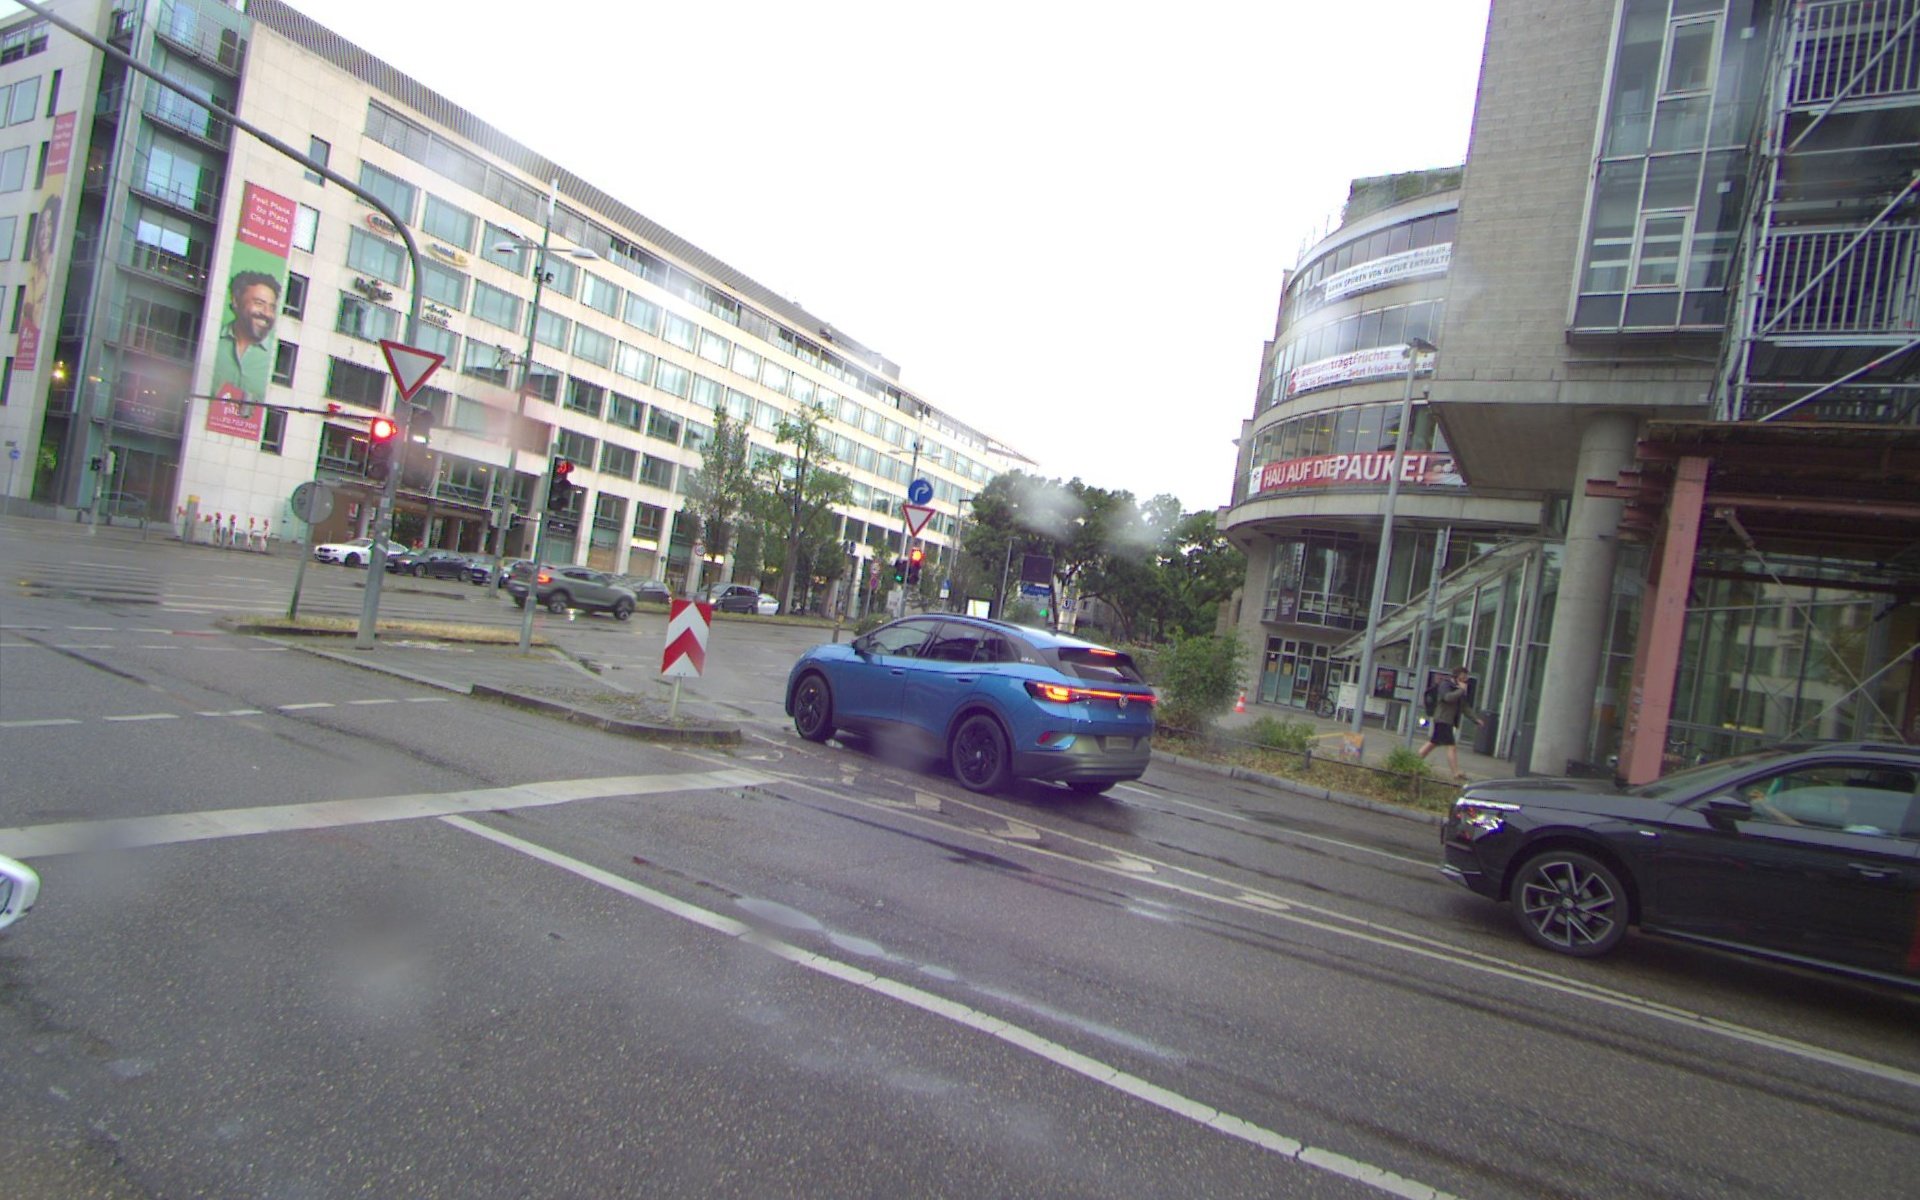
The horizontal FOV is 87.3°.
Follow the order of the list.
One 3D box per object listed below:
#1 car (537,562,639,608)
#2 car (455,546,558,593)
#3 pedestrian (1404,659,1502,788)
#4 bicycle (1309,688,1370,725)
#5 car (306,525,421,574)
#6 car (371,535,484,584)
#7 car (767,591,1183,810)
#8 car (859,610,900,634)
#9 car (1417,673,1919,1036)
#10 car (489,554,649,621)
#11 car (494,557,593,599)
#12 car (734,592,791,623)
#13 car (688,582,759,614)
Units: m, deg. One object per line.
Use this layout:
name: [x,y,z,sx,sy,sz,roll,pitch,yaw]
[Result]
car: [-16.551,-0.621,45.033,1.690,1.481,4.468,7,-1,19]
car: [-21.855,-1.426,48.717,1.962,1.616,4.469,7,-1,17]
pedestrian: [7.890,1.967,16.120,0.676,1.874,1.045,7,0,-38]
bicycle: [13.430,3.753,35.627,1.816,0.995,0.757,8,-1,12]
car: [-28.589,-2.392,48.395,1.962,1.616,4.469,7,-1,17]
car: [-25.184,-1.889,47.790,1.963,1.616,4.467,7,-1,20]
car: [-0.049,0.930,10.611,1.699,1.547,4.373,9,-1,-43]
car: [-6.893,1.920,86.678,1.700,1.642,4.196,9,0,22]
car: [5.253,1.544,6.190,4.080,1.558,1.780,7,-1,34]
car: [-12.763,-0.367,33.132,1.966,1.568,4.550,7,-1,30]
car: [-19.196,-0.994,46.609,1.690,1.364,4.469,7,-1,17]
car: [-13.644,0.548,69.827,1.700,1.642,4.196,9,0,22]
car: [-14.116,-0.080,60.343,1.891,1.364,4.653,7,-1,19]
